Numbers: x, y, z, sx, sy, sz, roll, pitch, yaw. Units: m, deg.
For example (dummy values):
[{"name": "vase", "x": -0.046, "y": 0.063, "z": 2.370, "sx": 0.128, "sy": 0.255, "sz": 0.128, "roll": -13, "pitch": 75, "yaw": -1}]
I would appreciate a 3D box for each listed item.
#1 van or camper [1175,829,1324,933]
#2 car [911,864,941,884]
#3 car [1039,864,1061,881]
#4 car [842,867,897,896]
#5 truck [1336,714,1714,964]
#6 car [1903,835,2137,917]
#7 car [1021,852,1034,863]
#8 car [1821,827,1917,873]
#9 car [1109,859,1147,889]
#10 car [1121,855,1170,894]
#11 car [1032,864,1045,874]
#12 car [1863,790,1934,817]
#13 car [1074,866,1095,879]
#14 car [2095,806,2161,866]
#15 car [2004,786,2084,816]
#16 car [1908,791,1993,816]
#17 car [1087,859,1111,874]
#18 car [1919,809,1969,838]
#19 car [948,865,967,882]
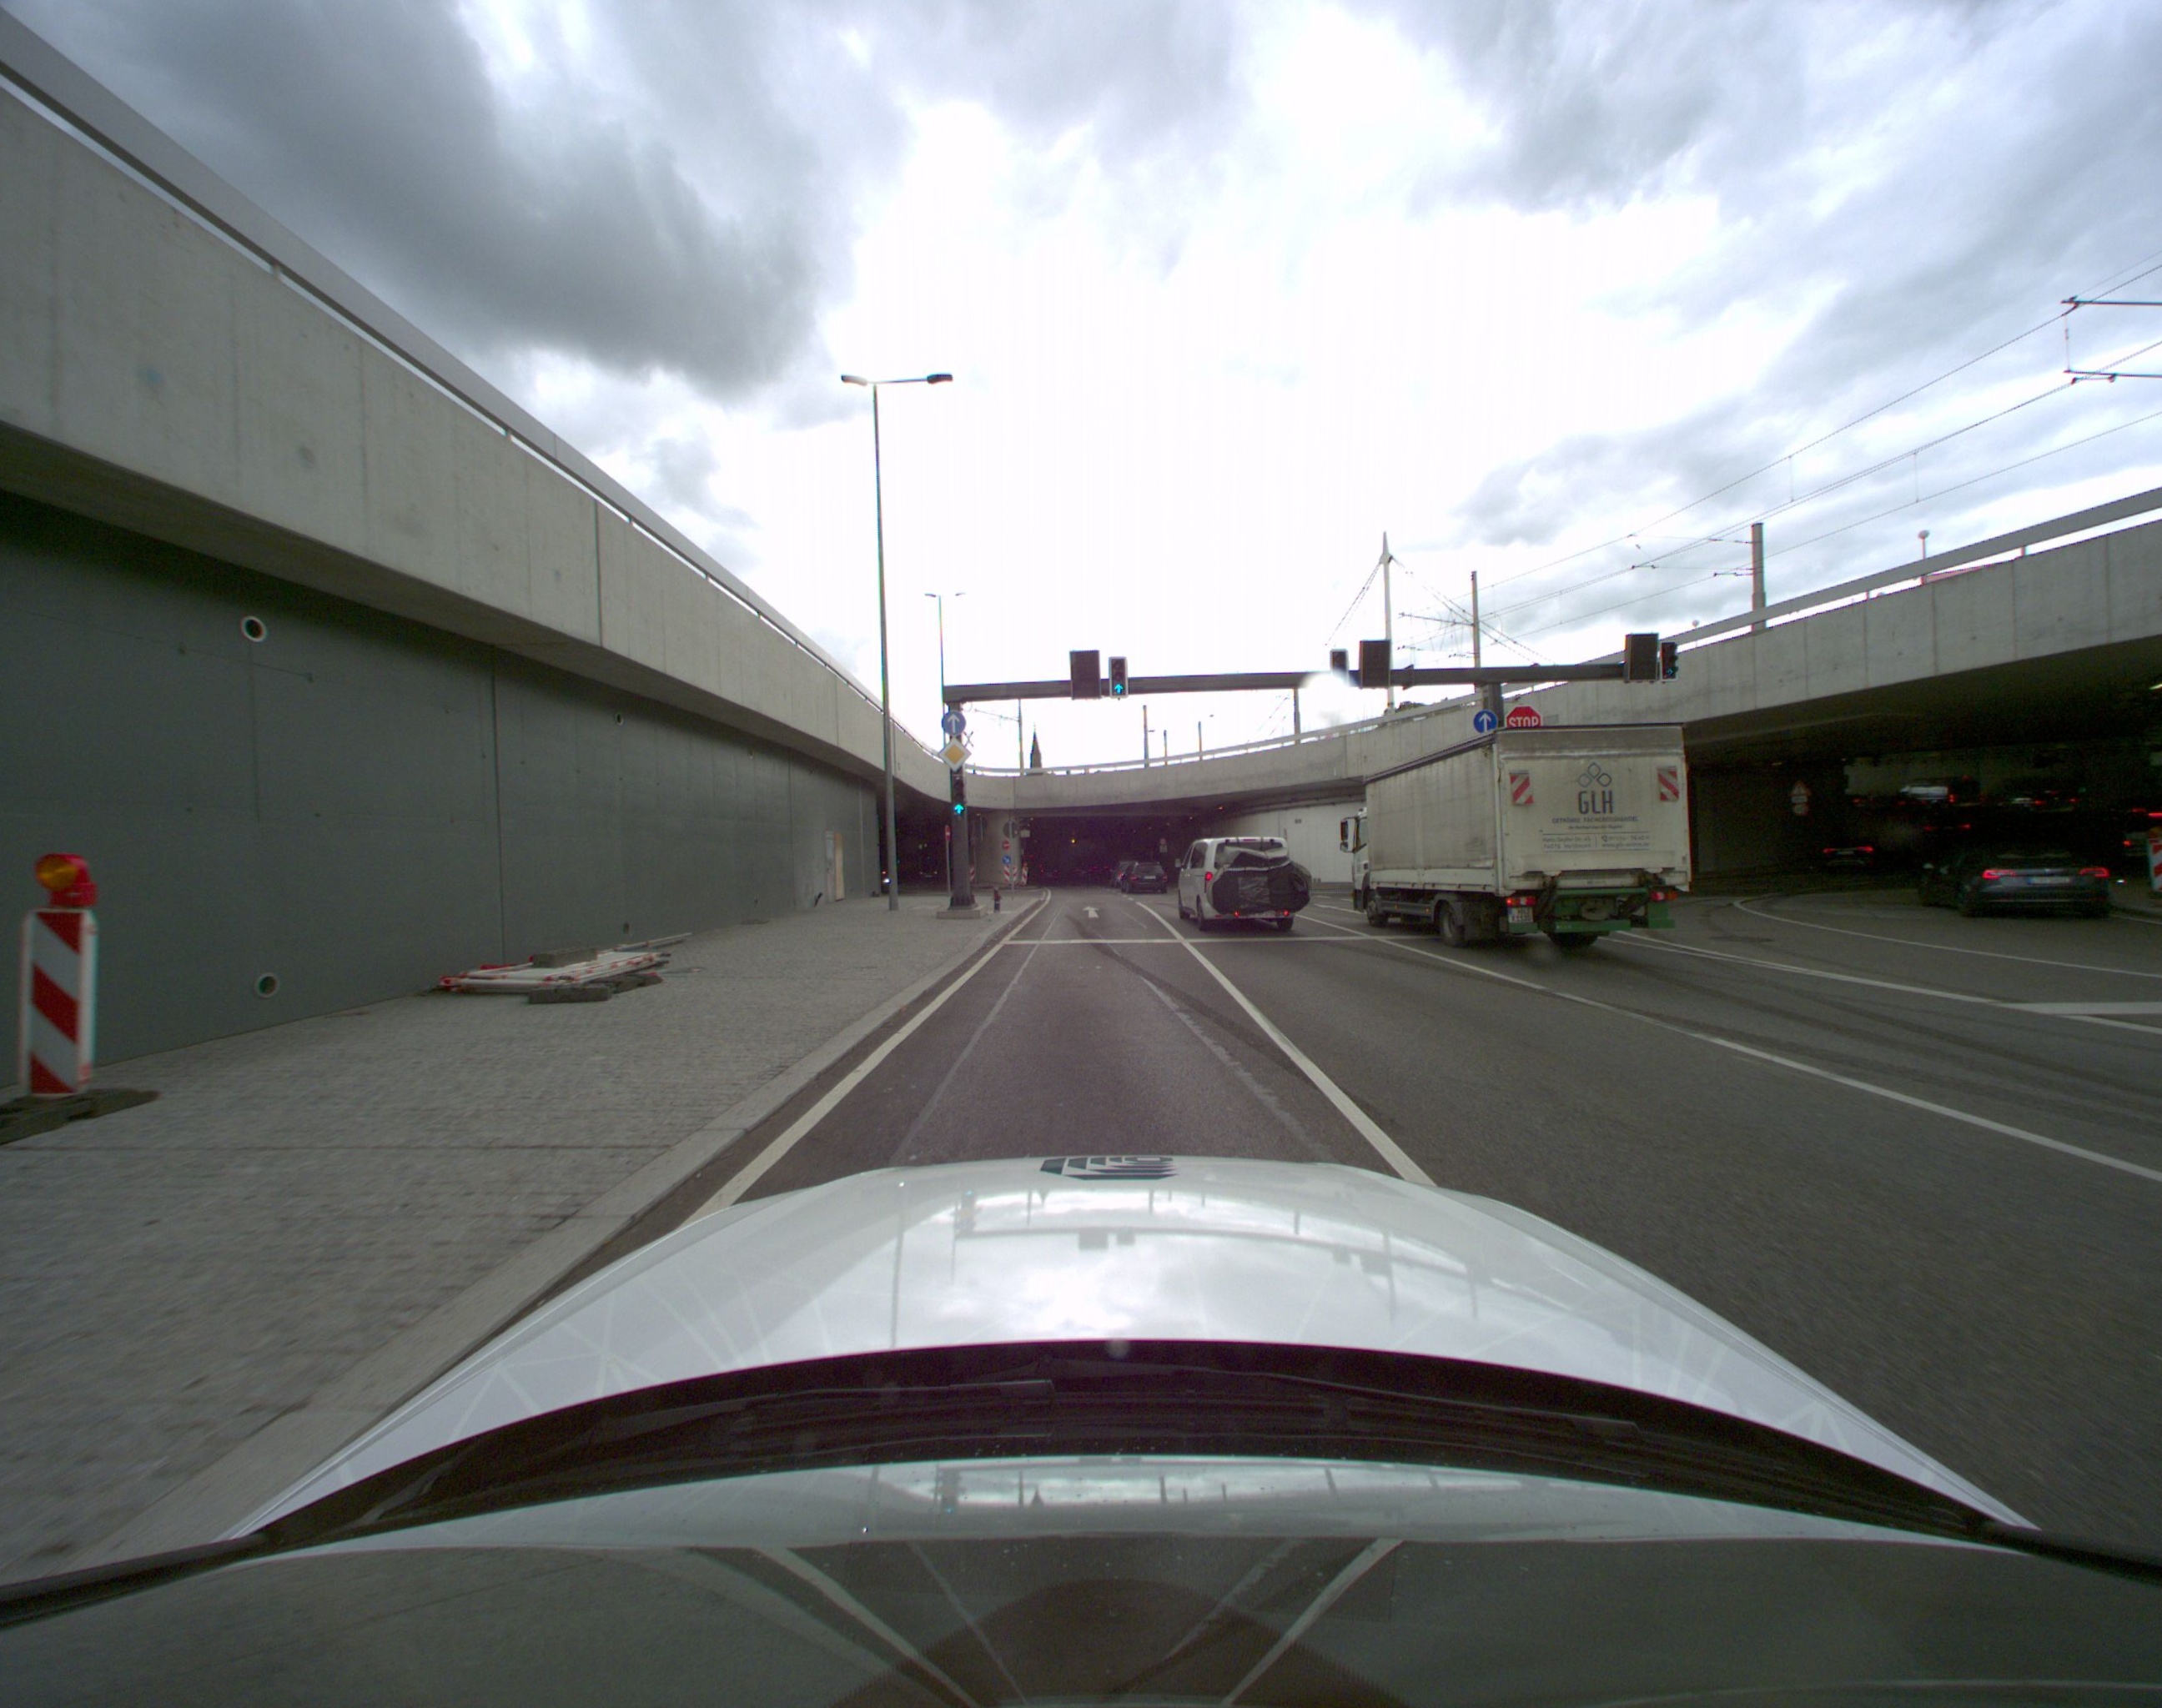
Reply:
[{"name": "van or camper", "x": 3.310, "y": 0.551, "z": 17.248, "sx": 1.987, "sy": 1.845, "sz": 5.505, "roll": 0, "pitch": -1, "yaw": 0}, {"name": "car", "x": -12.236, "y": 1.533, "z": 64.286, "sx": 1.670, "sy": 1.441, "sz": 4.085, "roll": -1, "pitch": 0, "yaw": -20}, {"name": "car", "x": -2.759, "y": 1.629, "z": 71.612, "sx": 1.658, "sy": 1.488, "sz": 3.560, "roll": -1, "pitch": -1, "yaw": -5}, {"name": "car", "x": -11.468, "y": 1.465, "z": 43.916, "sx": 1.861, "sy": 1.443, "sz": 4.800, "roll": -1, "pitch": -1, "yaw": -27}, {"name": "truck", "x": 6.949, "y": -0.192, "z": 14.333, "sx": 2.640, "sy": 3.185, "sz": 7.427, "roll": -2, "pitch": 0, "yaw": 1}, {"name": "car", "x": 18.753, "y": 0.405, "z": 16.567, "sx": 1.974, "sy": 1.401, "sz": 4.496, "roll": -4, "pitch": -2, "yaw": 34}, {"name": "car", "x": -9.480, "y": 0.600, "z": 143.247, "sx": 1.992, "sy": 2.013, "sz": 3.991, "roll": -1, "pitch": 0, "yaw": -7}, {"name": "car", "x": 33.212, "y": -0.184, "z": 34.319, "sx": 4.013, "sy": 1.588, "sz": 1.815, "roll": -5, "pitch": 2, "yaw": -30}, {"name": "car", "x": 2.717, "y": 1.129, "z": 47.909, "sx": 1.814, "sy": 1.580, "sz": 3.997, "roll": 2, "pitch": 0, "yaw": -2}, {"name": "car", "x": 2.889, "y": 0.912, "z": 37.179, "sx": 1.814, "sy": 1.684, "sz": 3.997, "roll": 0, "pitch": 0, "yaw": -2}, {"name": "car", "x": -5.419, "y": 1.898, "z": 103.827, "sx": 1.506, "sy": 1.247, "sz": 3.560, "roll": -1, "pitch": -1, "yaw": -5}, {"name": "car", "x": 60.006, "y": -3.673, "z": 59.878, "sx": 1.830, "sy": 1.657, "sz": 4.379, "roll": -1, "pitch": 0, "yaw": 17}, {"name": "car", "x": 0.339, "y": 1.824, "z": 80.335, "sx": 1.661, "sy": 1.247, "sz": 3.560, "roll": -1, "pitch": -1, "yaw": -5}, {"name": "car", "x": 38.054, "y": -0.681, "z": 28.598, "sx": 4.366, "sy": 1.835, "sz": 1.984, "roll": -5, "pitch": 1, "yaw": -24}, {"name": "car", "x": 61.070, "y": -3.372, "z": 51.733, "sx": 1.826, "sy": 1.657, "sz": 4.388, "roll": -3, "pitch": 2, "yaw": 29}, {"name": "car", "x": 63.649, "y": -3.707, "z": 59.742, "sx": 2.121, "sy": 1.627, "sz": 4.412, "roll": -3, "pitch": 2, "yaw": 12}, {"name": "car", "x": 1.982, "y": 1.461, "z": 92.484, "sx": 1.989, "sy": 1.676, "sz": 4.495, "roll": -1, "pitch": -1, "yaw": -8}, {"name": "car", "x": 47.585, "y": -1.678, "z": 44.966, "sx": 1.668, "sy": 1.333, "sz": 3.692, "roll": -1, "pitch": 4, "yaw": 43}, {"name": "car", "x": -13.286, "y": 2.028, "z": 87.647, "sx": 1.806, "sy": 1.604, "sz": 4.777, "roll": -2, "pitch": 1, "yaw": -6}]
